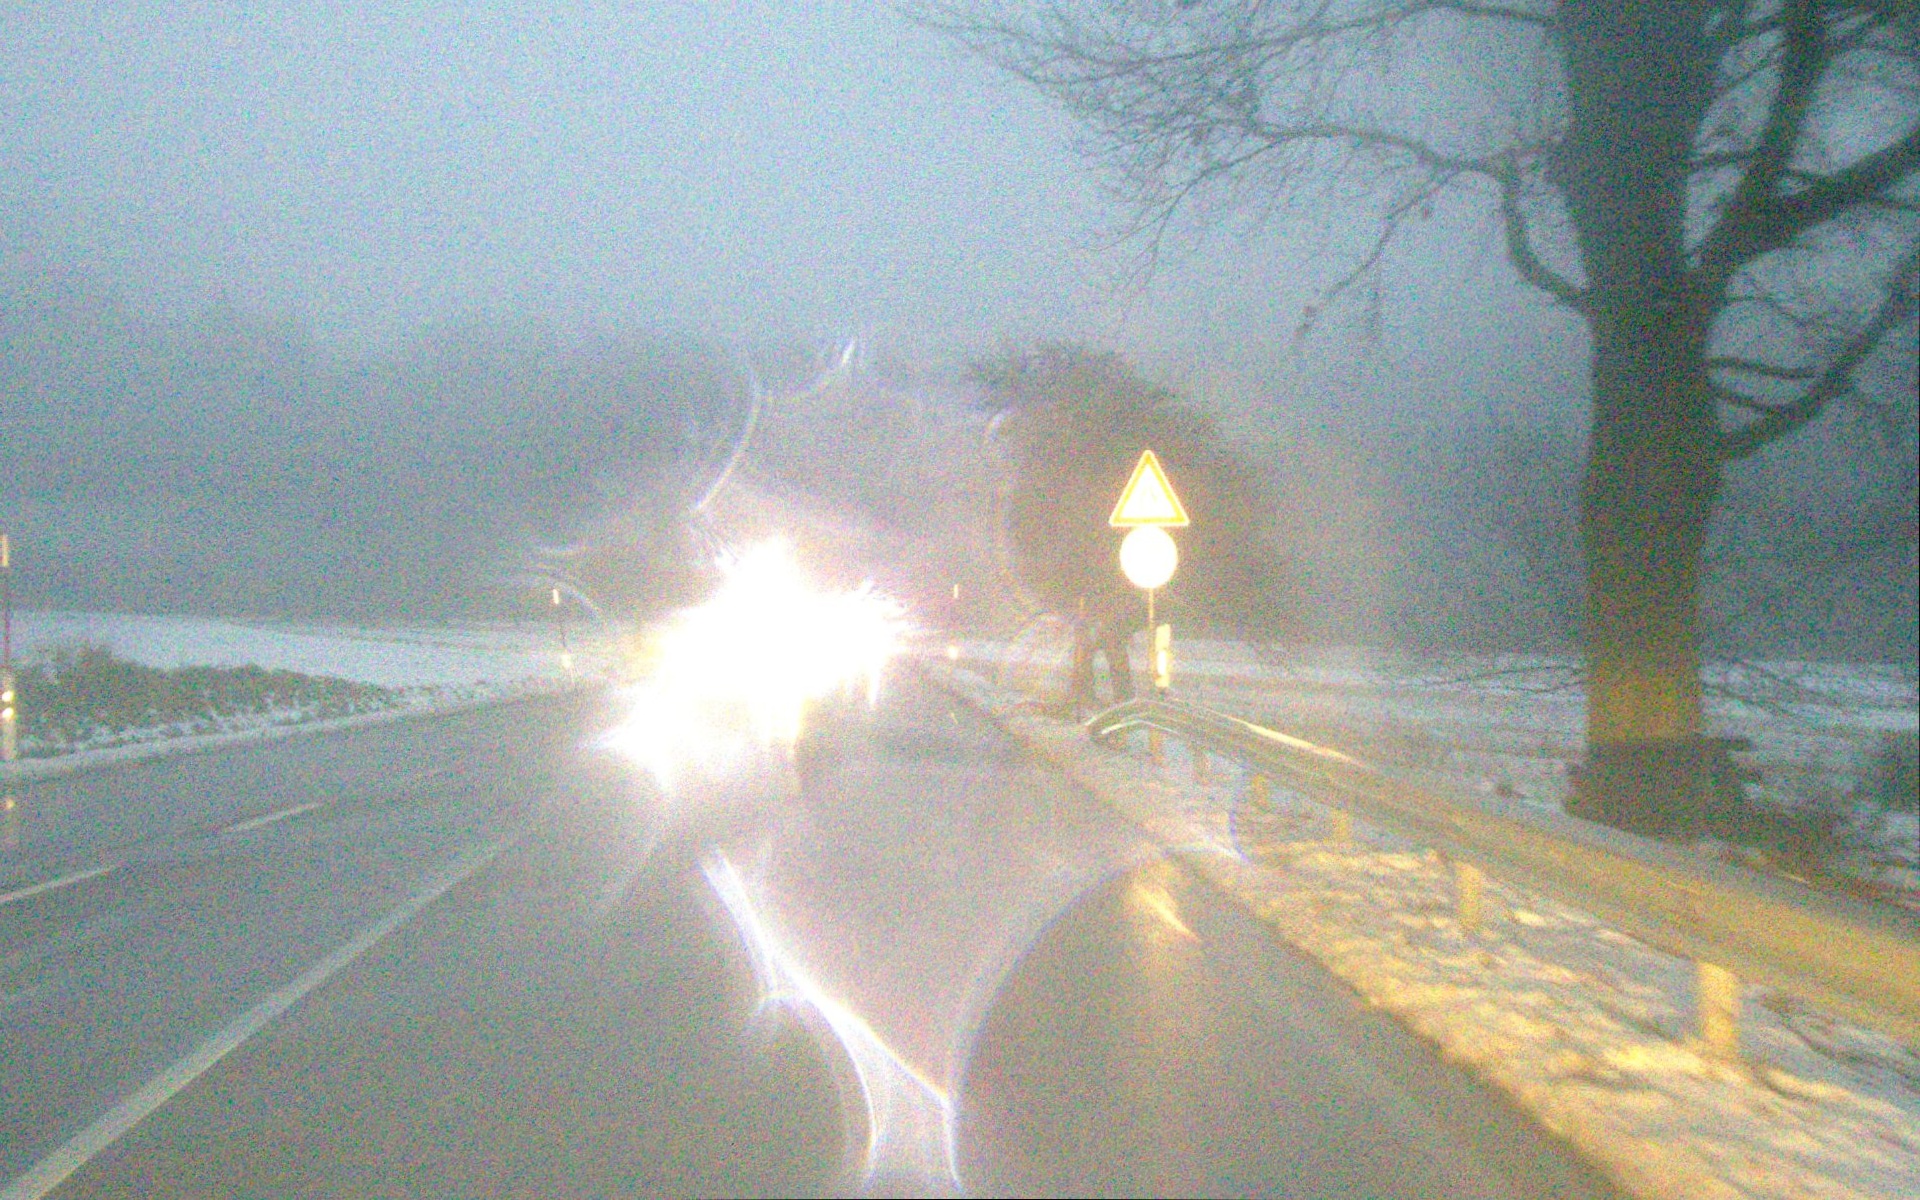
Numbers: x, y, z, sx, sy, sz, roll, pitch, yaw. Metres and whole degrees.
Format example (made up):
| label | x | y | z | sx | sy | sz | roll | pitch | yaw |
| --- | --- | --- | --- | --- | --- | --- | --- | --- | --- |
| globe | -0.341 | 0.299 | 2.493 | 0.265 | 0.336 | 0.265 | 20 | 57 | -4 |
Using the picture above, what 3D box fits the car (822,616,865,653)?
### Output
| label | x | y | z | sx | sy | sz | roll | pitch | yaw |
| --- | --- | --- | --- | --- | --- | --- | --- | --- | --- |
| car | -5.210 | 1.527 | 153.750 | 1.692 | 1.547 | 3.856 | 0 | 1 | 1 |
